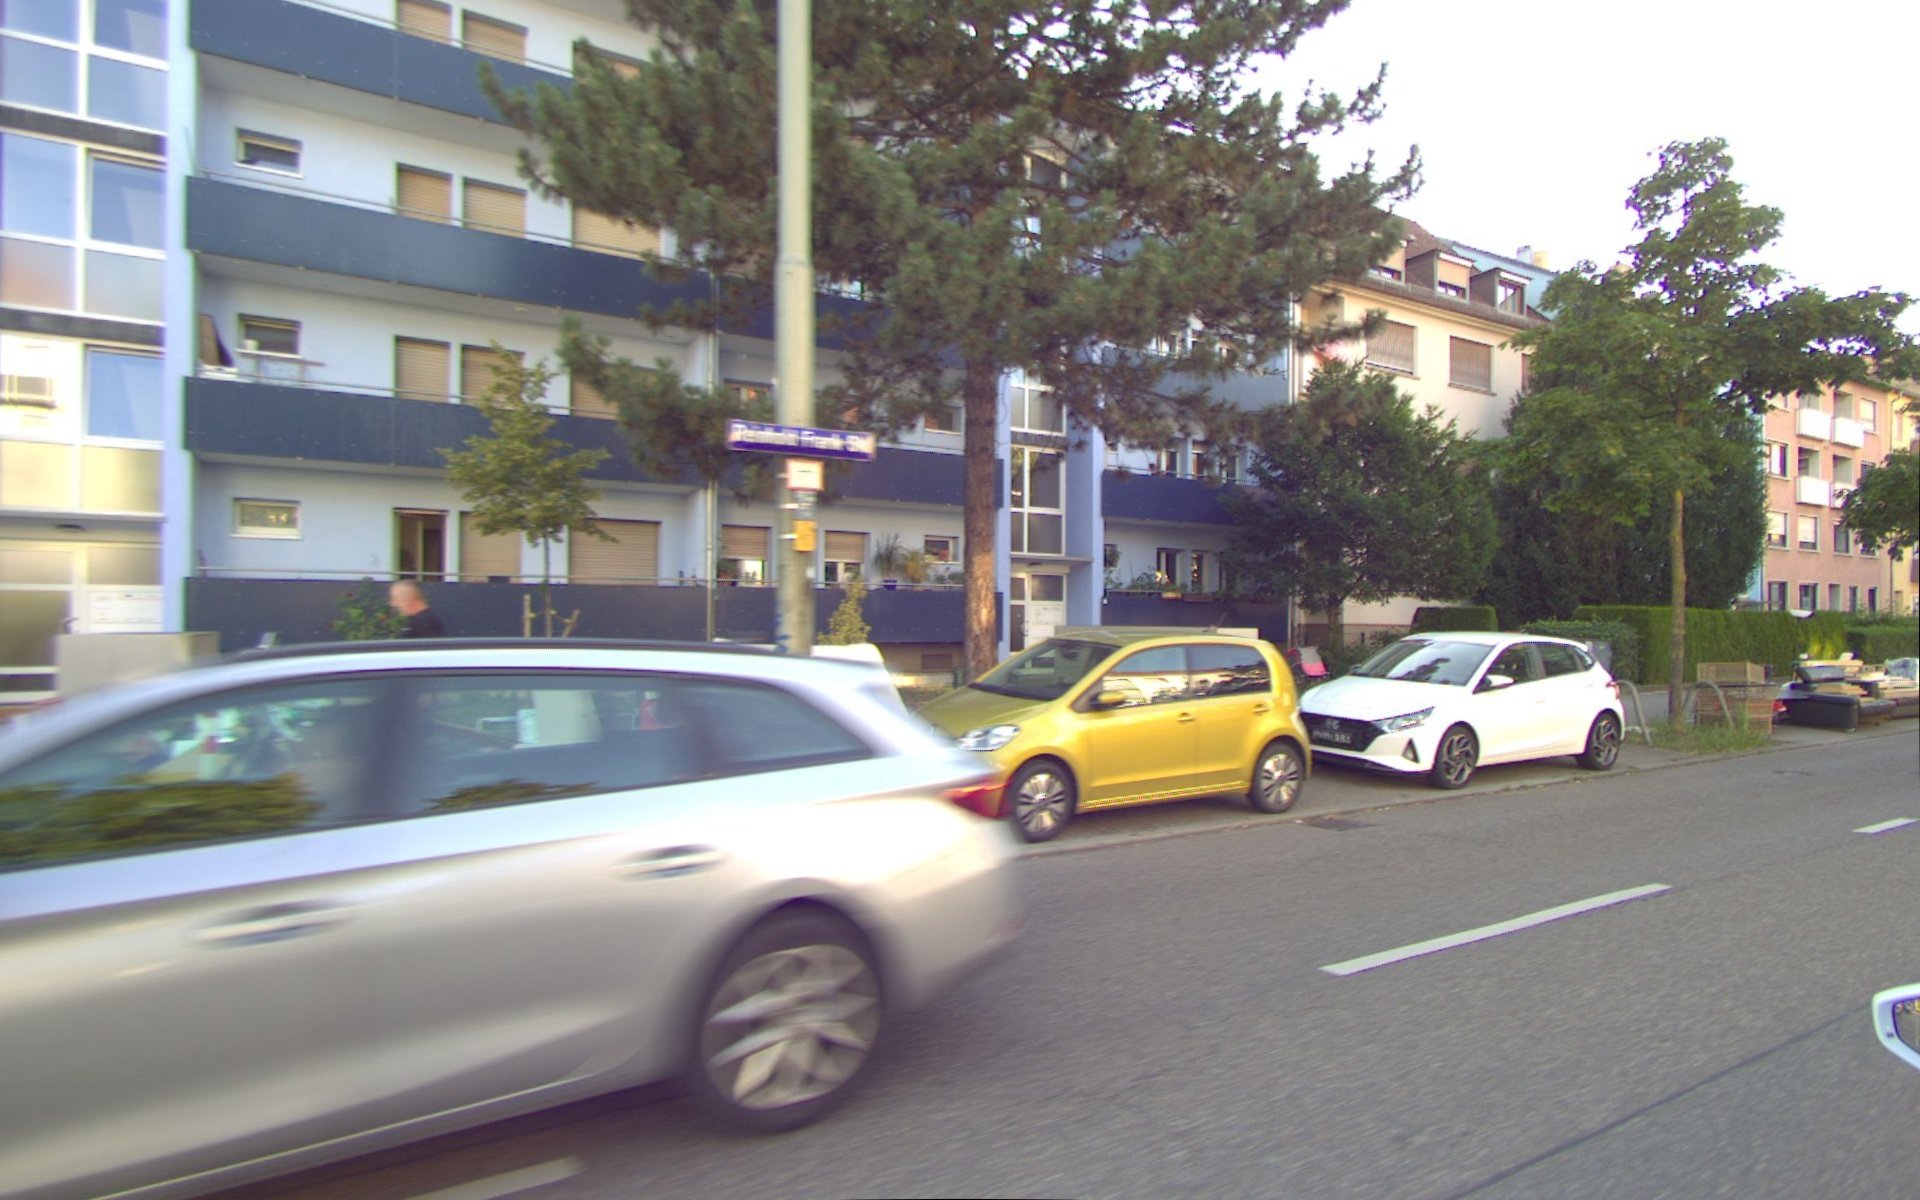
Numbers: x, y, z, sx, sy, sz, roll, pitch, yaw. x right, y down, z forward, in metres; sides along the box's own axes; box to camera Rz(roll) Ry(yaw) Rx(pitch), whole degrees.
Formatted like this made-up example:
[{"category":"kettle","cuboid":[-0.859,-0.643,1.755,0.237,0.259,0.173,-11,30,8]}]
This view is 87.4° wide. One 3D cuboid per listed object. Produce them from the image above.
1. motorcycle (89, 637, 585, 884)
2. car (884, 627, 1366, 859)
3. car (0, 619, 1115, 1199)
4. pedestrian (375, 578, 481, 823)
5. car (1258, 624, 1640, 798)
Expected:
[{"category":"motorcycle","cuboid":[-3.386,0.841,5.666,2.290,1.220,0.660,0,-1,-10]},{"category":"car","cuboid":[1.436,1.012,8.446,3.824,1.500,1.612,1,1,-29]},{"category":"car","cuboid":[-1.741,0.854,3.106,4.260,1.498,1.731,0,-4,-31]},{"category":"pedestrian","cuboid":[-4.157,0.744,7.835,0.687,1.794,0.658,1,-1,-31]},{"category":"car","cuboid":[5.320,1.056,10.875,3.922,1.514,1.773,1,1,-29]}]
